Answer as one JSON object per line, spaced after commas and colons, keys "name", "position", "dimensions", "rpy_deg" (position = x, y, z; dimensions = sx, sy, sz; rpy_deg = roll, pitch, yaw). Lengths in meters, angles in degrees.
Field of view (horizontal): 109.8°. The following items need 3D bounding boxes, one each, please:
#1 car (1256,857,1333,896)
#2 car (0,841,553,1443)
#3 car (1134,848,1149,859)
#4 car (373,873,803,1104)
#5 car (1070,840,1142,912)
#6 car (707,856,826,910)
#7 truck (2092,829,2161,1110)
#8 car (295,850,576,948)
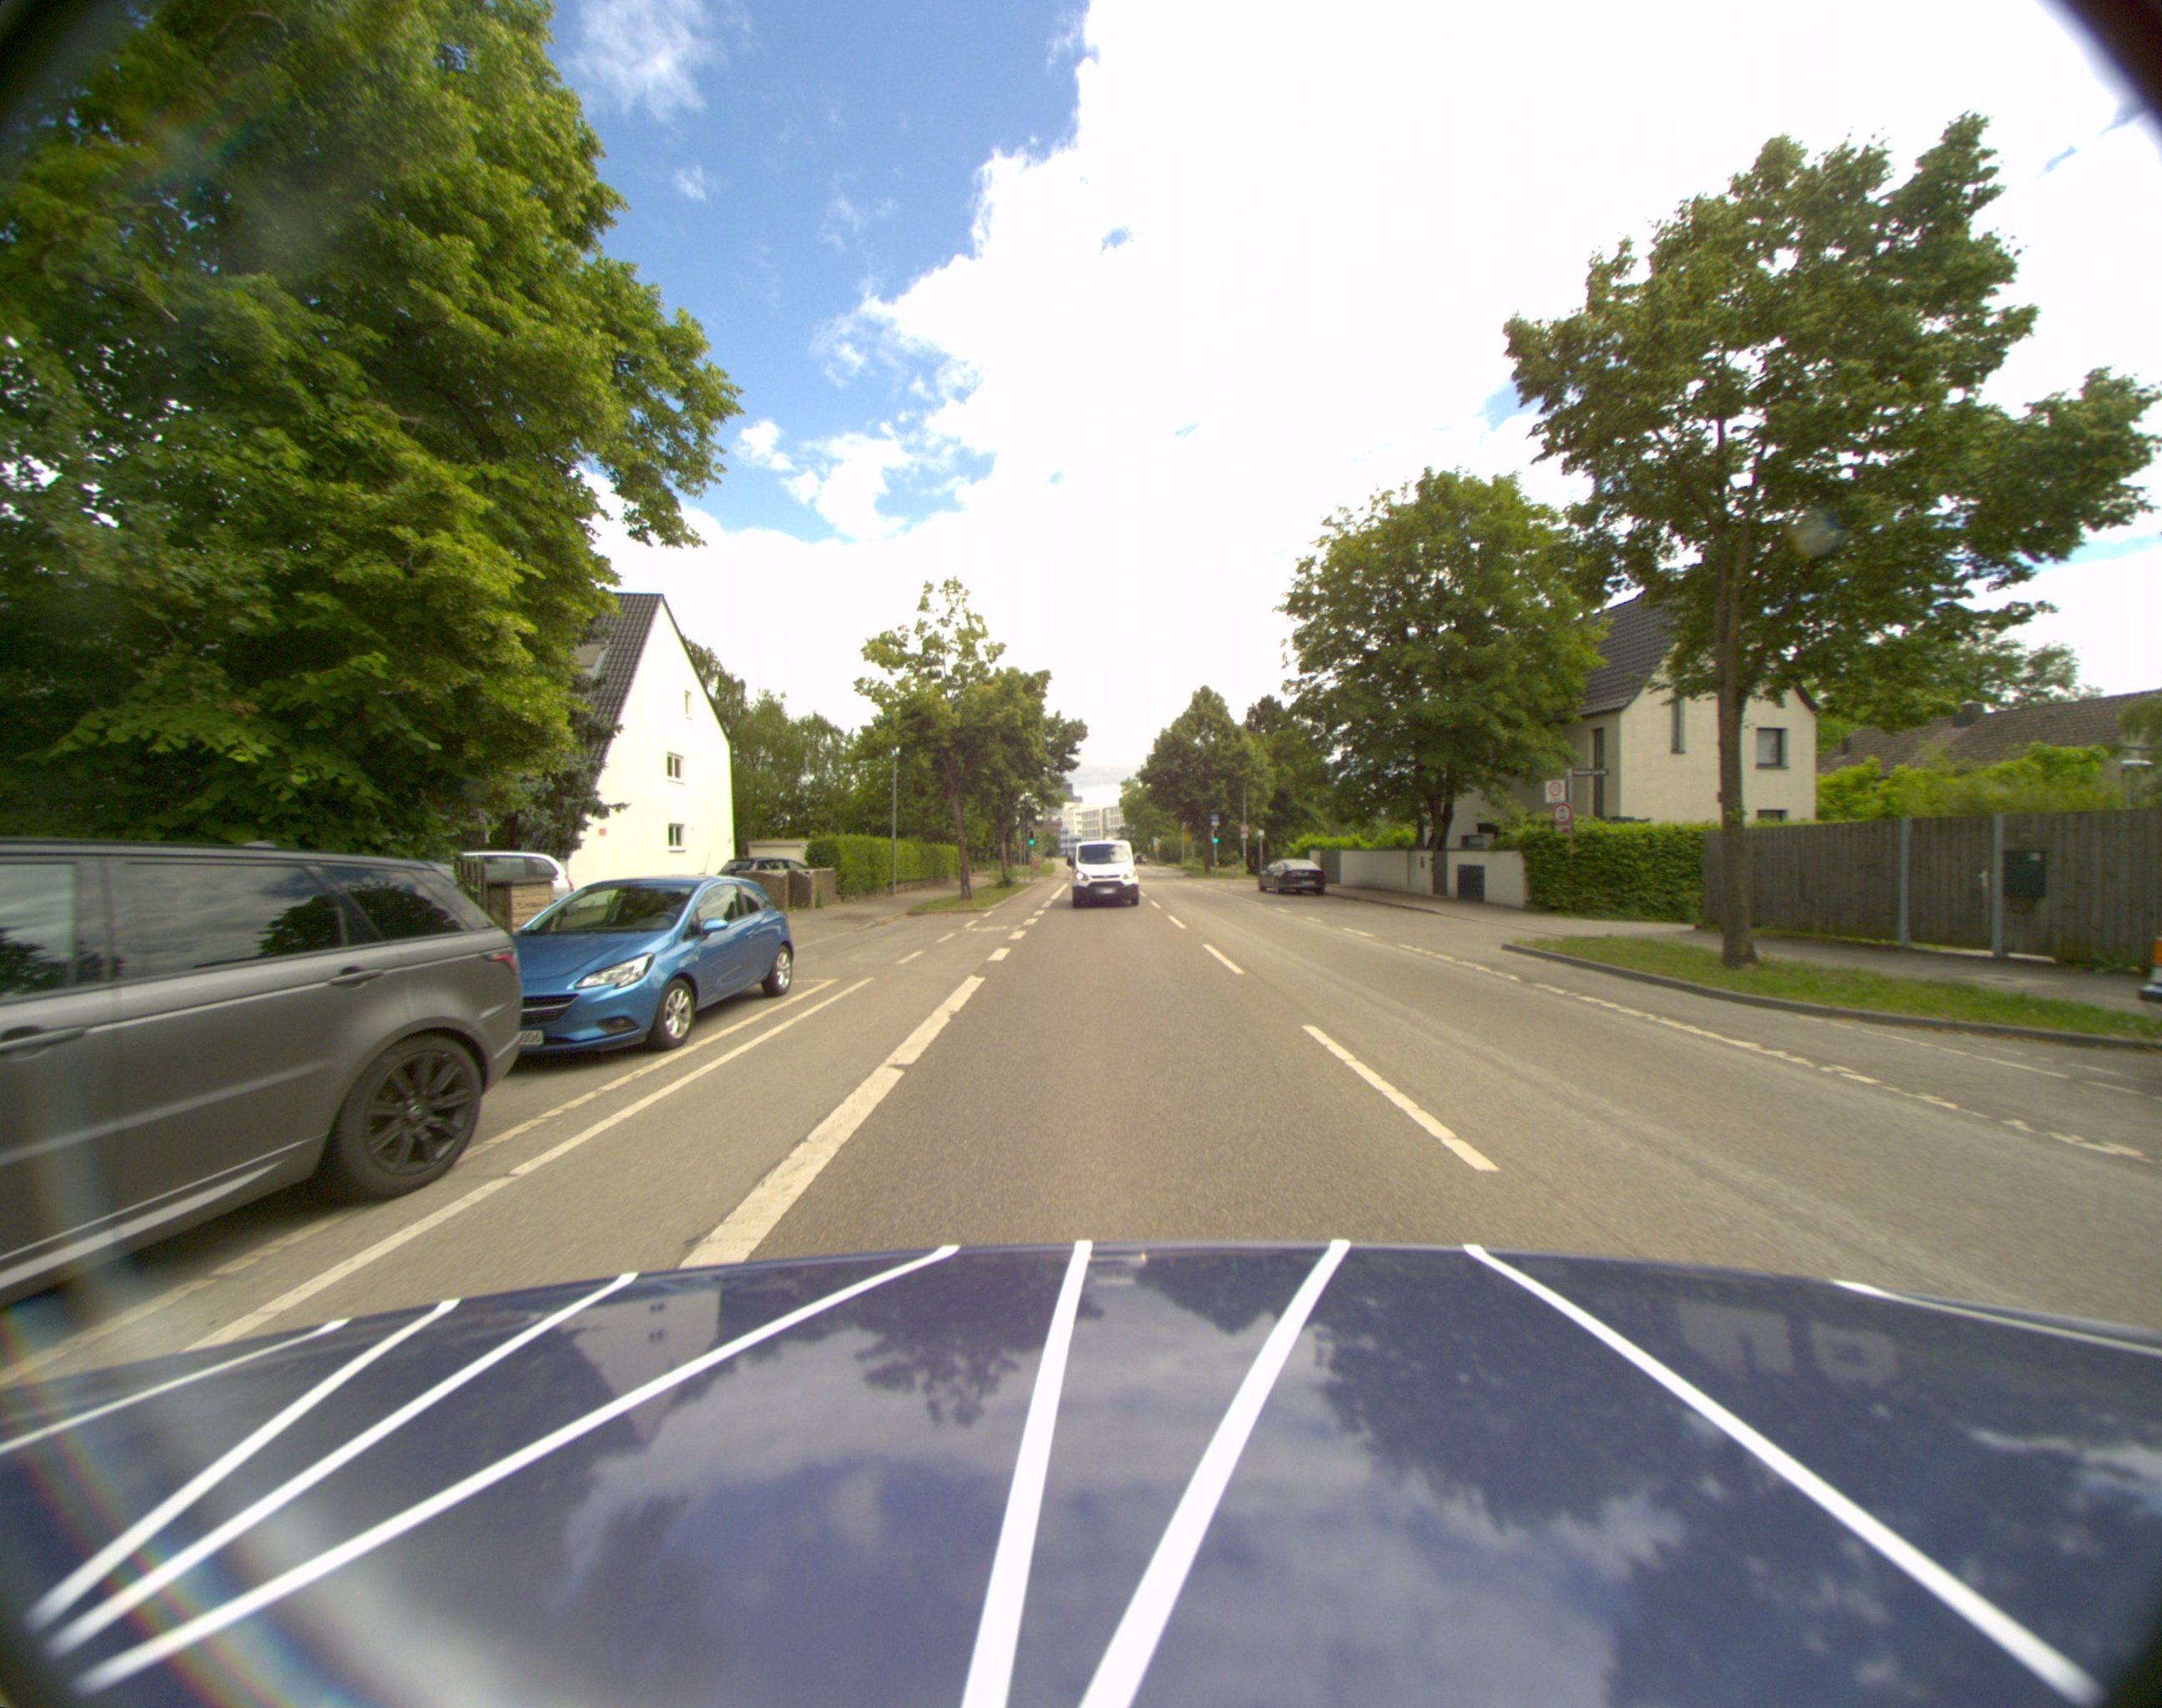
{"name": "car", "position": [8.621, 0.877, 31.145], "dimensions": [1.750, 1.400, 4.927], "rpy_deg": [1, 0, 0]}
{"name": "car", "position": [-4.263, 0.888, 2.178], "dimensions": [1.998, 1.805, 4.827], "rpy_deg": [-1, 1, 1]}
{"name": "car", "position": [9.184, -0.050, 115.471], "dimensions": [1.786, 1.622, 3.999], "rpy_deg": [0, 0, 0]}
{"name": "car", "position": [-4.275, 1.026, 7.461], "dimensions": [1.689, 1.493, 3.920], "rpy_deg": [-1, 1, -1]}
{"name": "car", "position": [0.764, 0.589, 24.284], "dimensions": [1.998, 2.002, 5.188], "rpy_deg": [-2, 1, 1]}
{"name": "car", "position": [-10.016, 0.867, 24.402], "dimensions": [1.647, 1.559, 3.225], "rpy_deg": [0, 0, 25]}
{"name": "truck", "position": [8.089, 0.801, 2.504], "dimensions": [1.972, 1.857, 5.664], "rpy_deg": [1, 0, 1]}
{"name": "car", "position": [-12.608, 0.764, 15.030], "dimensions": [1.811, 1.650, 4.008], "rpy_deg": [0, 0, 42]}
